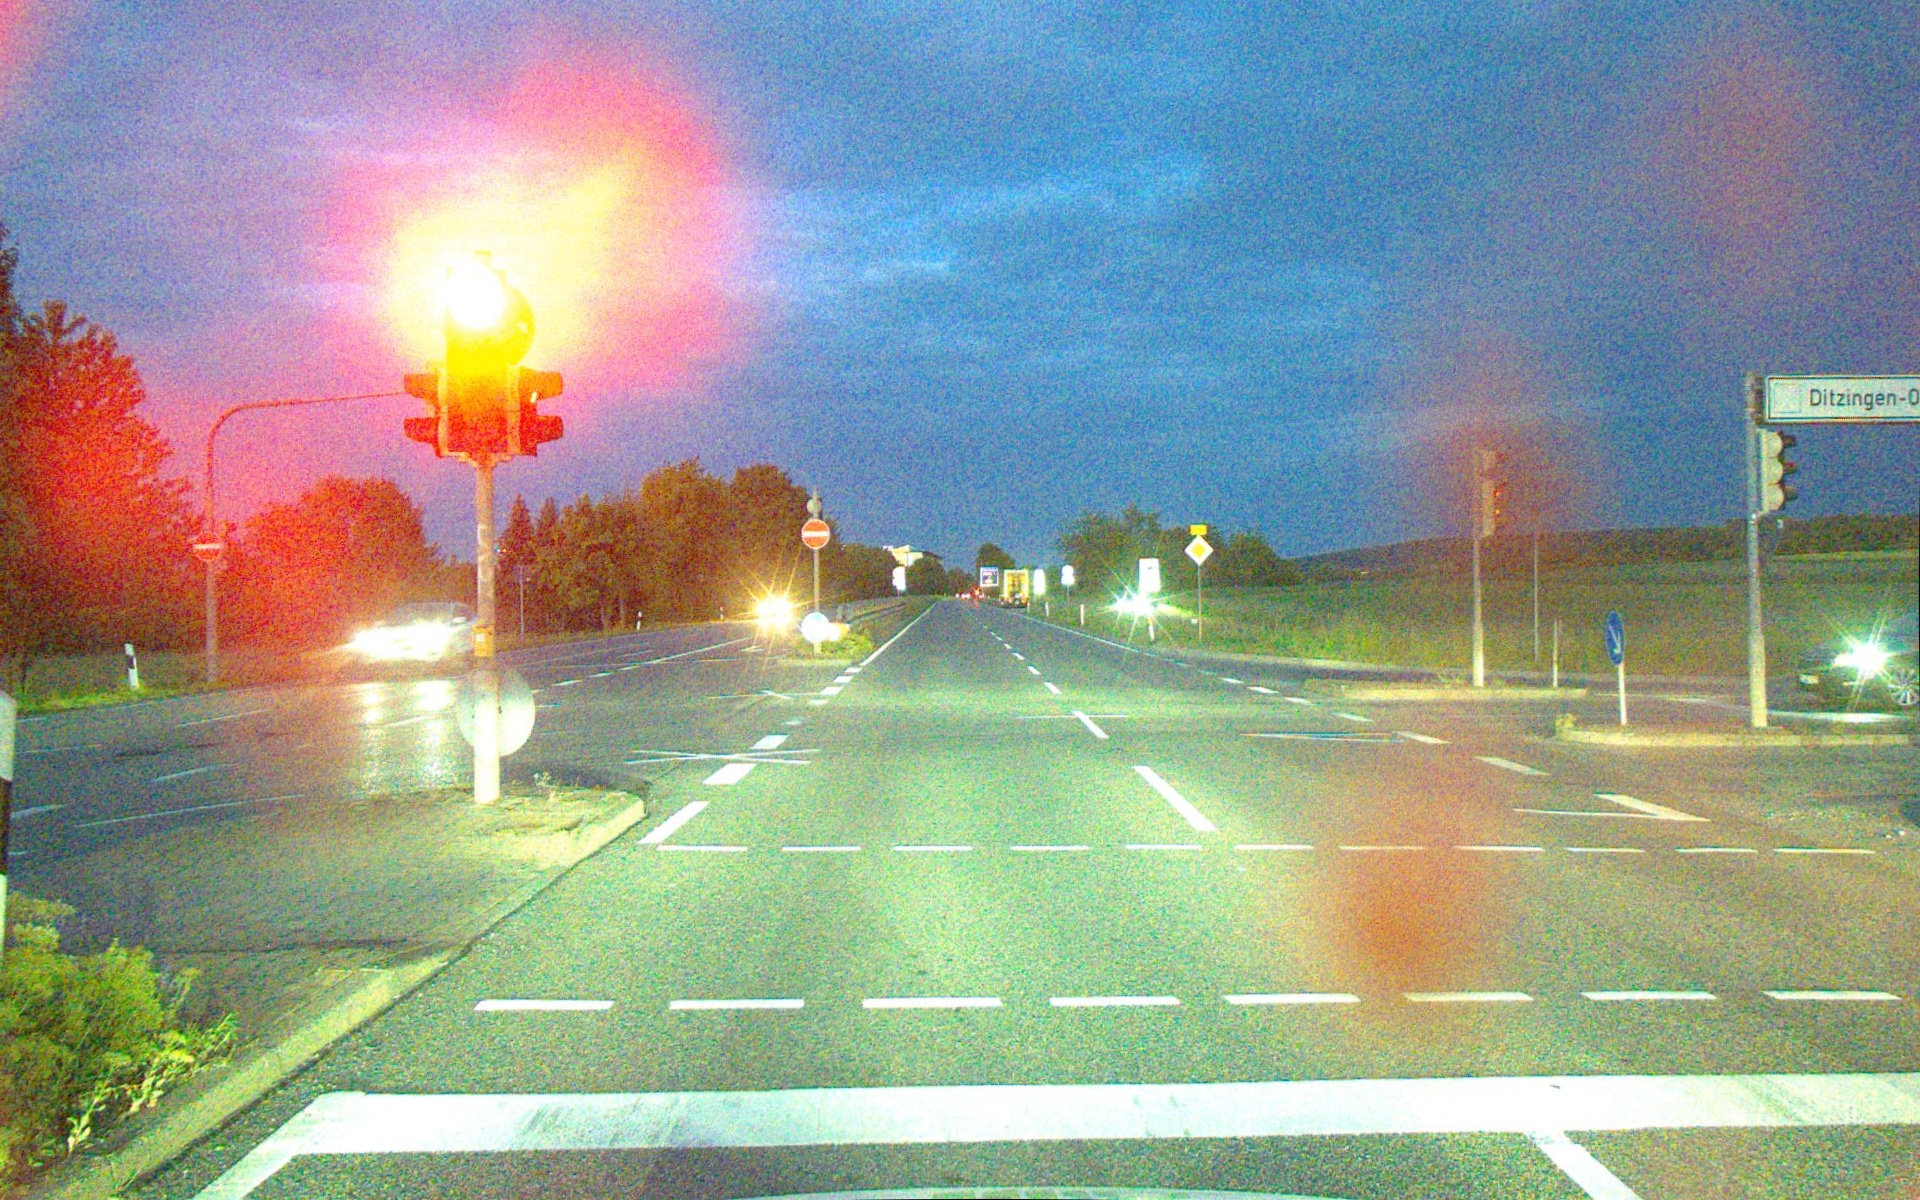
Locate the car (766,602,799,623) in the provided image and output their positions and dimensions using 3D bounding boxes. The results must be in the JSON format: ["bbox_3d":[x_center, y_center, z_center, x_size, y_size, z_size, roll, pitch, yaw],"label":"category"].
[{"bbox_3d":[-12.767,0.897,118.949,1.953,1.411,3.999,-1,0,-1],"label":"car"}]

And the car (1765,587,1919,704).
[{"bbox_3d":[14.251,0.581,23.627,4.507,1.547,2.000,-1,0,0],"label":"car"}]

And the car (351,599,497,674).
[{"bbox_3d":[-12.058,0.786,37.506,1.953,1.545,4.297,-1,0,-1],"label":"car"}]
